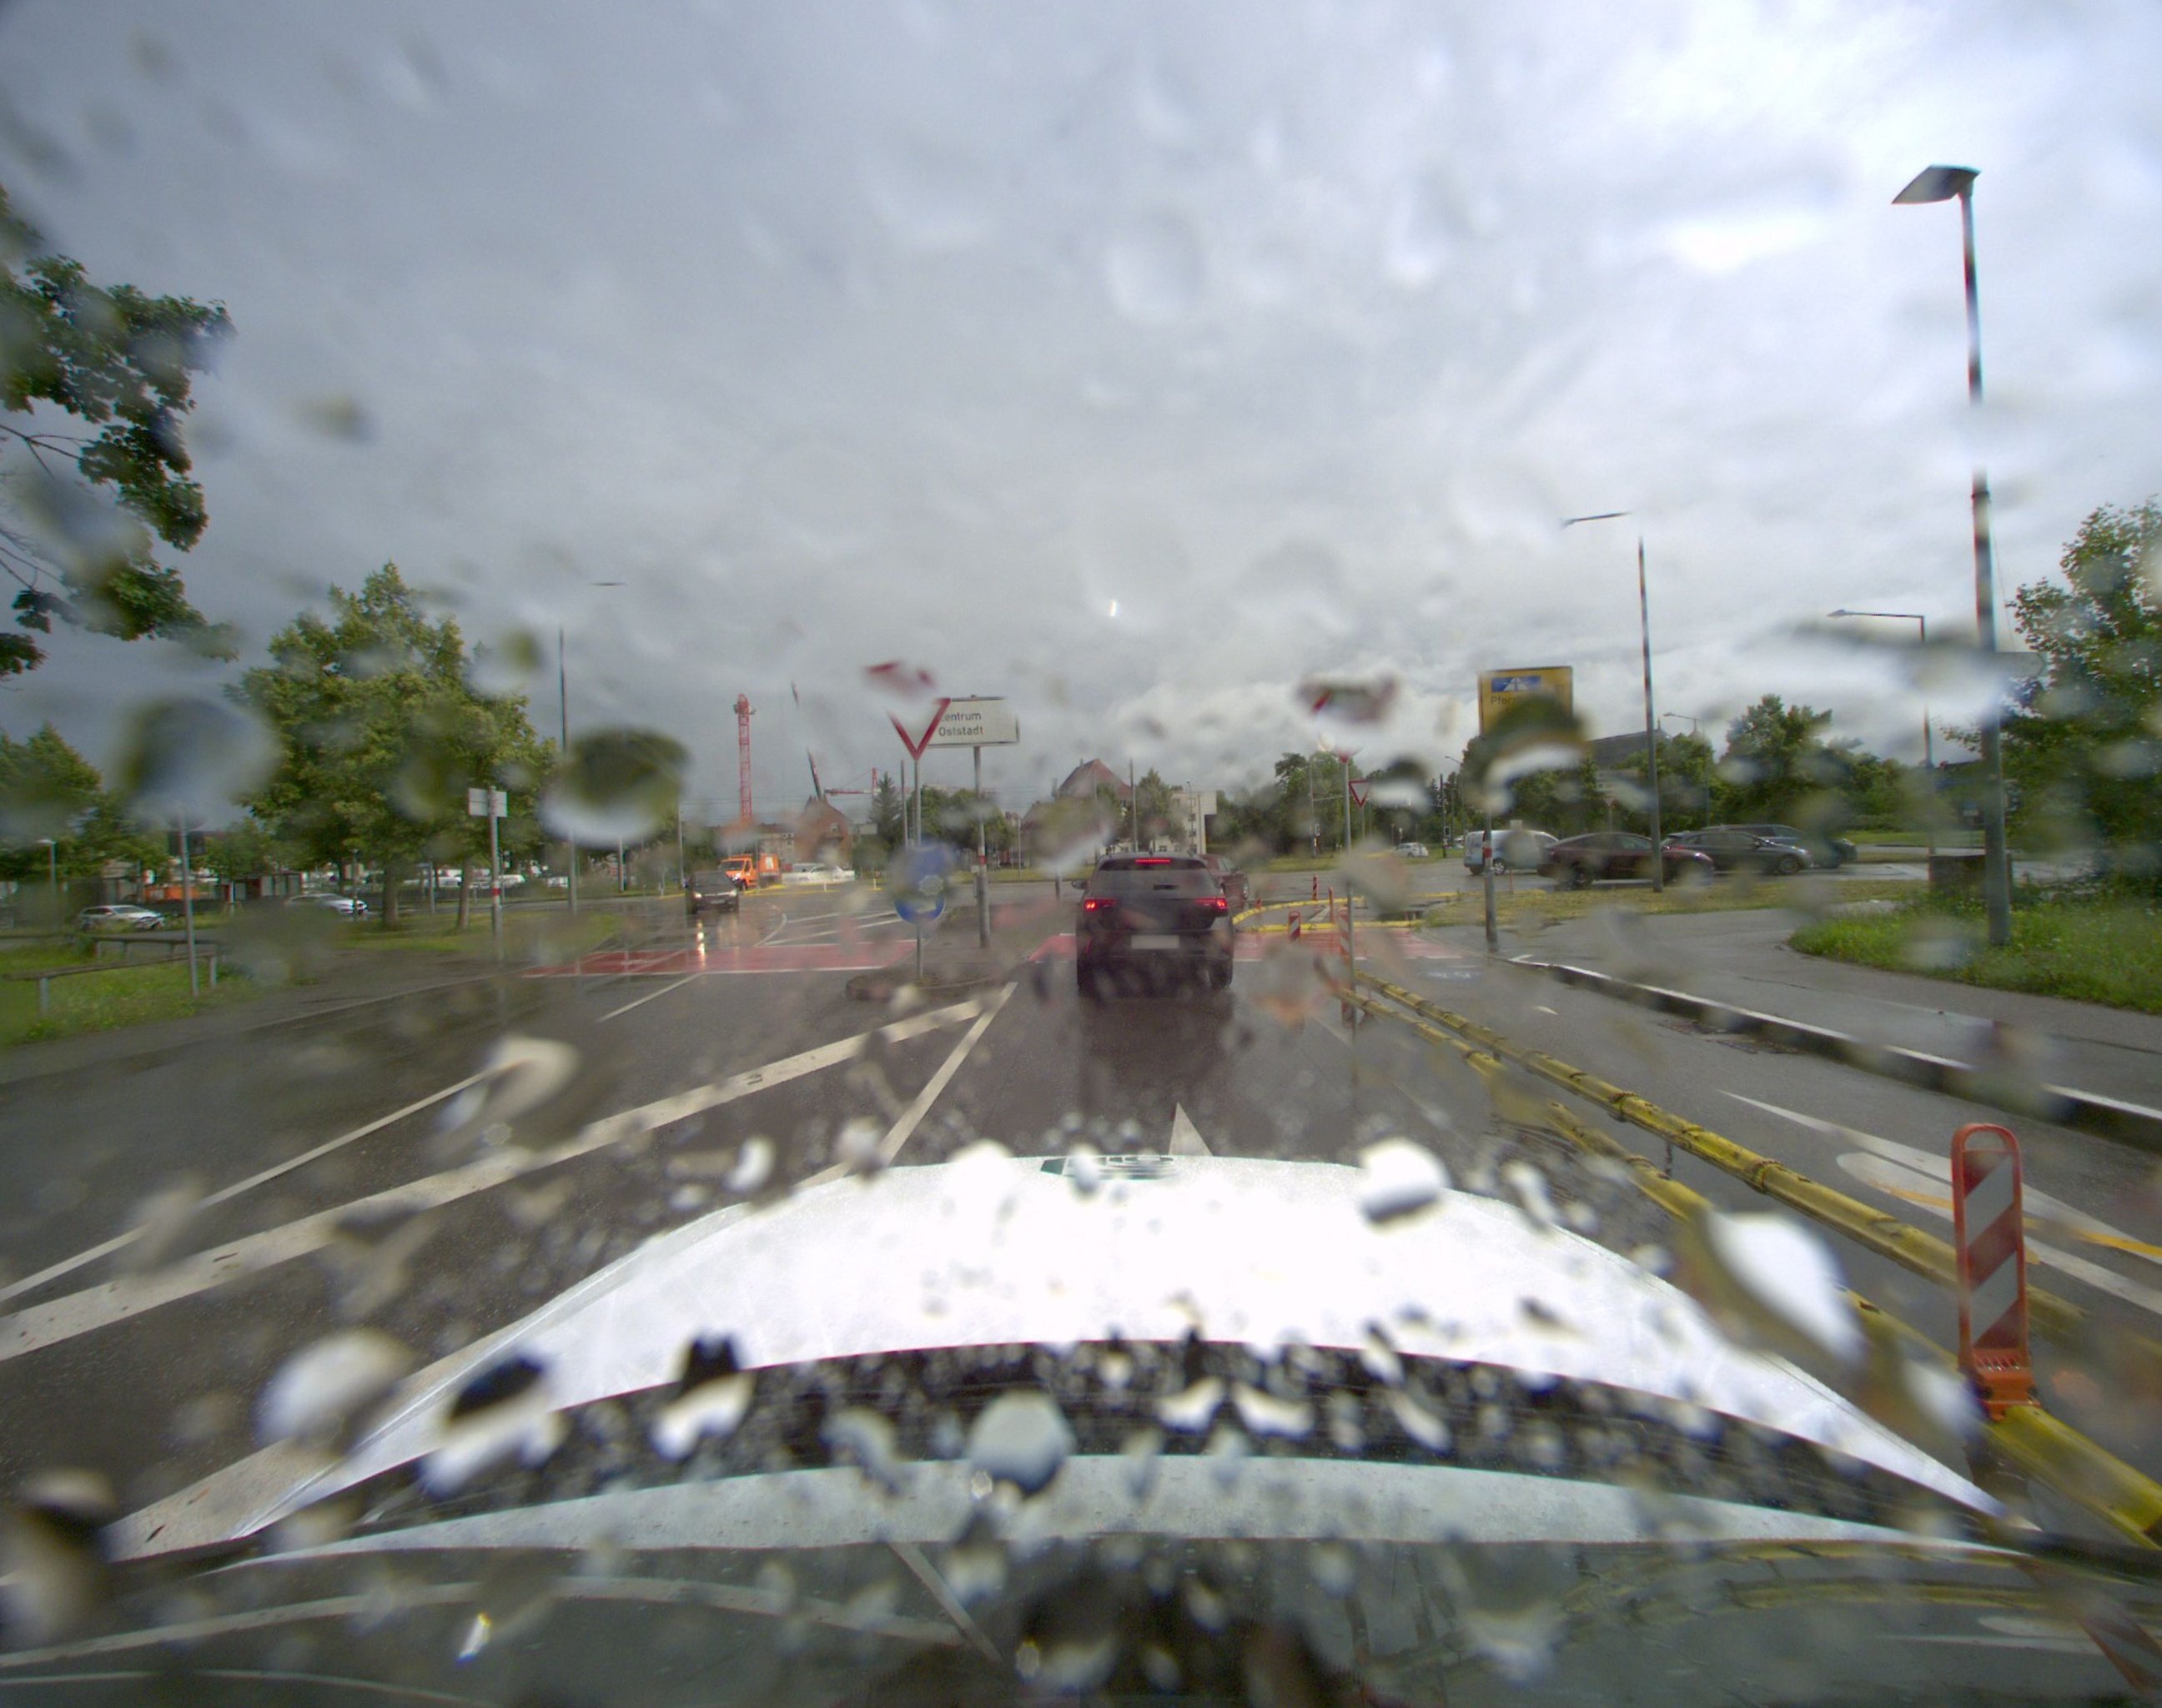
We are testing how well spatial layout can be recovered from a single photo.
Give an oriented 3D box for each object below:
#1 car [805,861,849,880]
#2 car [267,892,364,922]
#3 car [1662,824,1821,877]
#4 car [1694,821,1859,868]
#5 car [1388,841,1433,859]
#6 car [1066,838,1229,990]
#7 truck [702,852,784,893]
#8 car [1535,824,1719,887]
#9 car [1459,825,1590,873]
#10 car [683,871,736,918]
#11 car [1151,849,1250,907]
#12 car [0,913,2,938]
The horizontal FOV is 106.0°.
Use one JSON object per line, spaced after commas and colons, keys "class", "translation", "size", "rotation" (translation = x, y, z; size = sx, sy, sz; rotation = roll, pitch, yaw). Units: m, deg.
{"class": "car", "translation": [-23.540, 1.534, 75.485], "size": [3.519, 1.584, 1.551], "rotation": [-2, 0, -33]}
{"class": "car", "translation": [-47.692, 3.285, 50.820], "size": [4.384, 1.628, 1.630], "rotation": [-2, 0, -1]}
{"class": "car", "translation": [22.588, -0.090, 28.048], "size": [3.906, 1.644, 1.680], "rotation": [-2, 0, 23]}
{"class": "car", "translation": [26.006, -0.338, 30.649], "size": [4.350, 1.548, 1.881], "rotation": [-2, 0, 24]}
{"class": "car", "translation": [29.782, -0.328, 73.657], "size": [1.735, 1.548, 3.563], "rotation": [-2, 0, -22]}
{"class": "car", "translation": [0.707, 0.656, 10.522], "size": [1.703, 1.574, 3.682], "rotation": [-1, -1, 0]}
{"class": "truck", "translation": [-23.938, 1.214, 58.043], "size": [2.311, 2.650, 7.099], "rotation": [-2, 0, 5]}
{"class": "car", "translation": [16.786, 0.061, 25.316], "size": [4.307, 1.725, 2.009], "rotation": [-3, 0, 17]}
{"class": "car", "translation": [18.213, -0.204, 33.559], "size": [4.379, 1.809, 1.868], "rotation": [-2, 0, -3]}
{"class": "car", "translation": [-14.342, 1.501, 31.376], "size": [1.574, 1.648, 3.619], "rotation": [-2, 0, -29]}
{"class": "car", "translation": [3.570, 0.668, 23.821], "size": [1.719, 1.514, 3.625], "rotation": [-2, 0, 27]}
{"class": "car", "translation": [-72.608, 4.711, 52.412], "size": [4.377, 1.628, 1.633], "rotation": [-2, 0, 4]}
